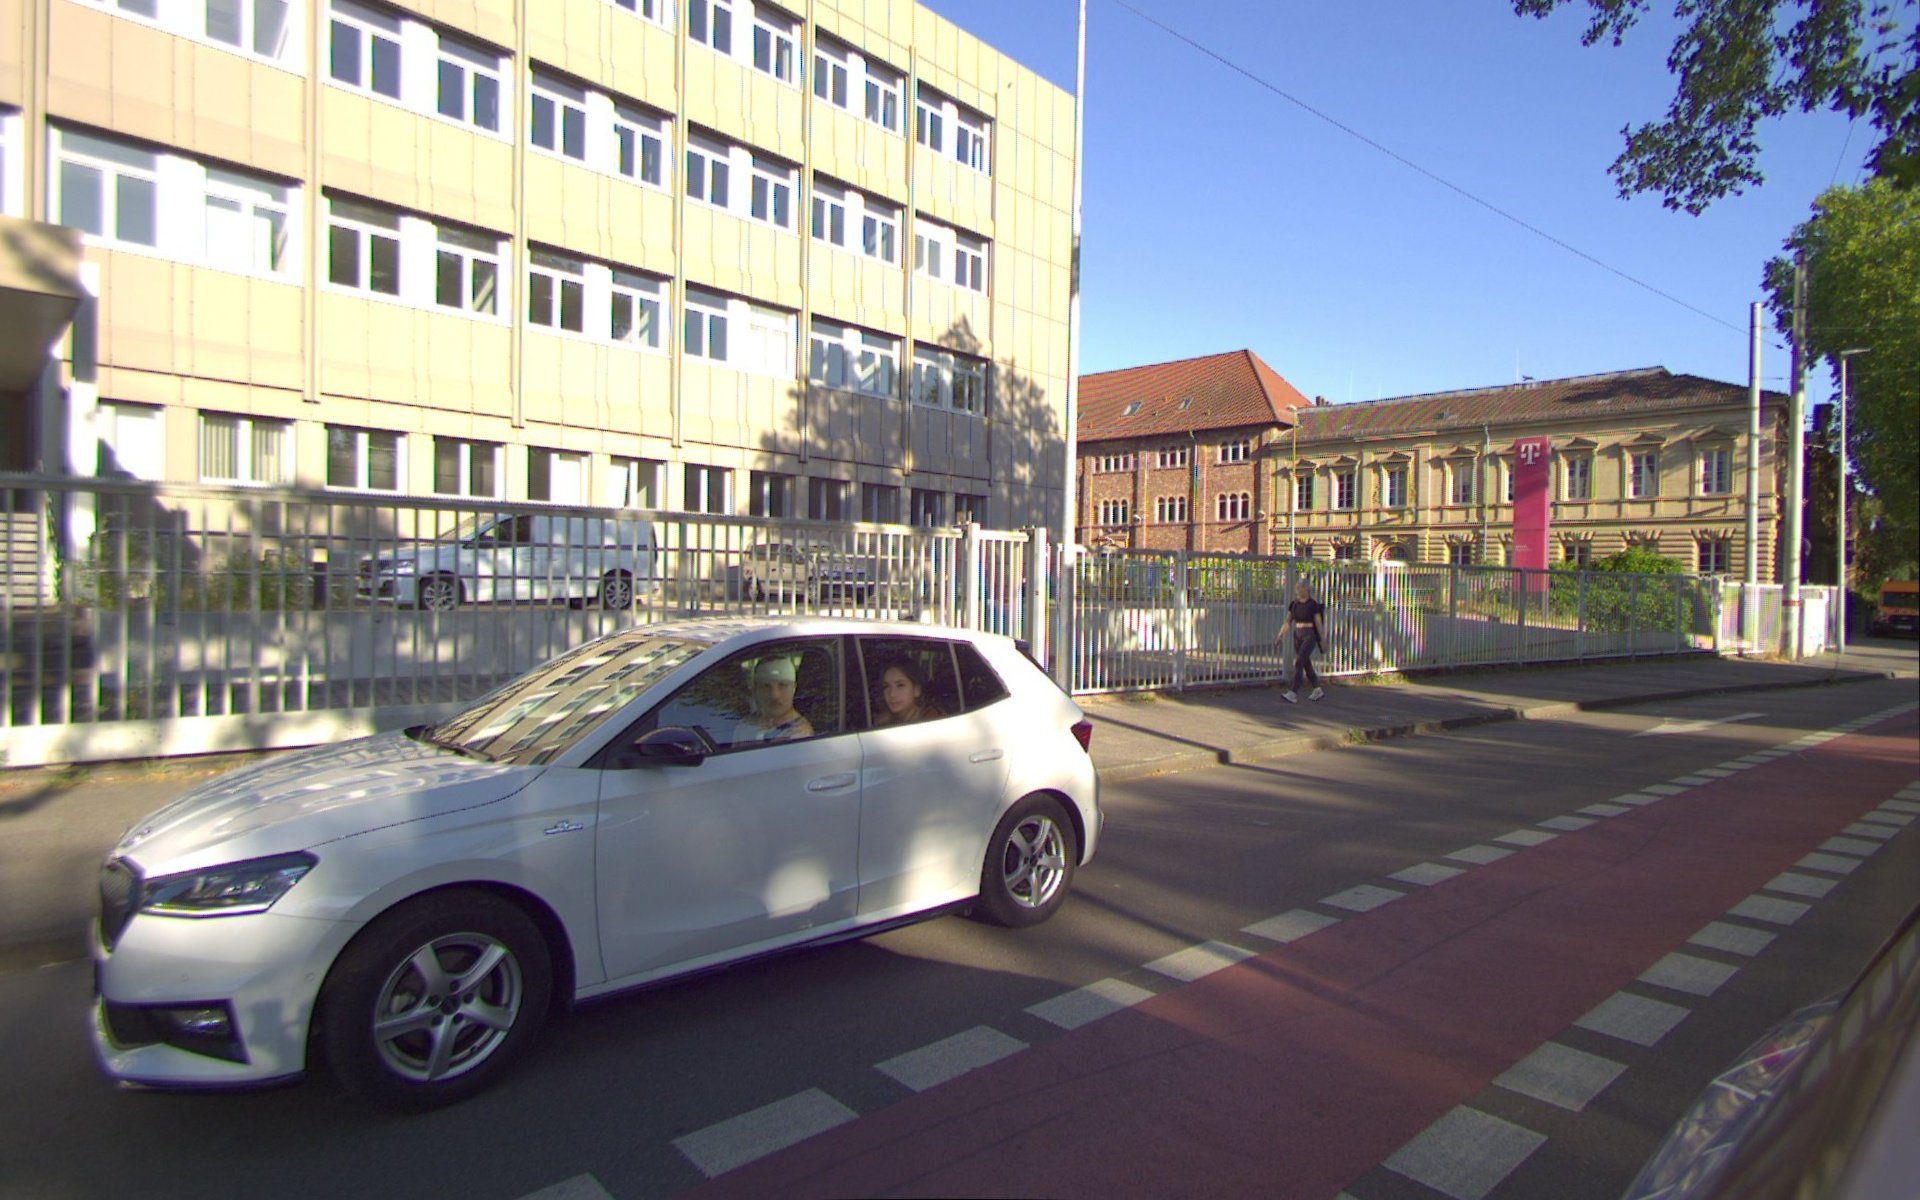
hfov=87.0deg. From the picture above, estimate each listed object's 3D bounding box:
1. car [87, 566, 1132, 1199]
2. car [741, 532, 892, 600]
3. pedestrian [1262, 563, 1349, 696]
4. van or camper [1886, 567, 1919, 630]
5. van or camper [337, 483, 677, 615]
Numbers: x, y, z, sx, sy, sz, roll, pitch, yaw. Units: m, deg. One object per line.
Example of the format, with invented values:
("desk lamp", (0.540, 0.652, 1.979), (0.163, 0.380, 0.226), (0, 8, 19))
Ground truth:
("car", (-1.185, 0.663, 4.396), (3.913, 1.520, 1.804), (0, 0, -43))
("car", (-4.038, -0.933, 28.085), (4.253, 1.739, 1.962), (2, 2, 44))
("pedestrian", (4.630, 0.370, 13.560), (0.913, 1.705, 0.698), (0, 1, -38))
("van or camper", (41.248, -0.069, 43.312), (5.678, 2.591, 2.037), (0, 1, -44))
("van or camper", (-7.564, -0.791, 17.308), (1.981, 1.932, 4.921), (3, 2, 43))
